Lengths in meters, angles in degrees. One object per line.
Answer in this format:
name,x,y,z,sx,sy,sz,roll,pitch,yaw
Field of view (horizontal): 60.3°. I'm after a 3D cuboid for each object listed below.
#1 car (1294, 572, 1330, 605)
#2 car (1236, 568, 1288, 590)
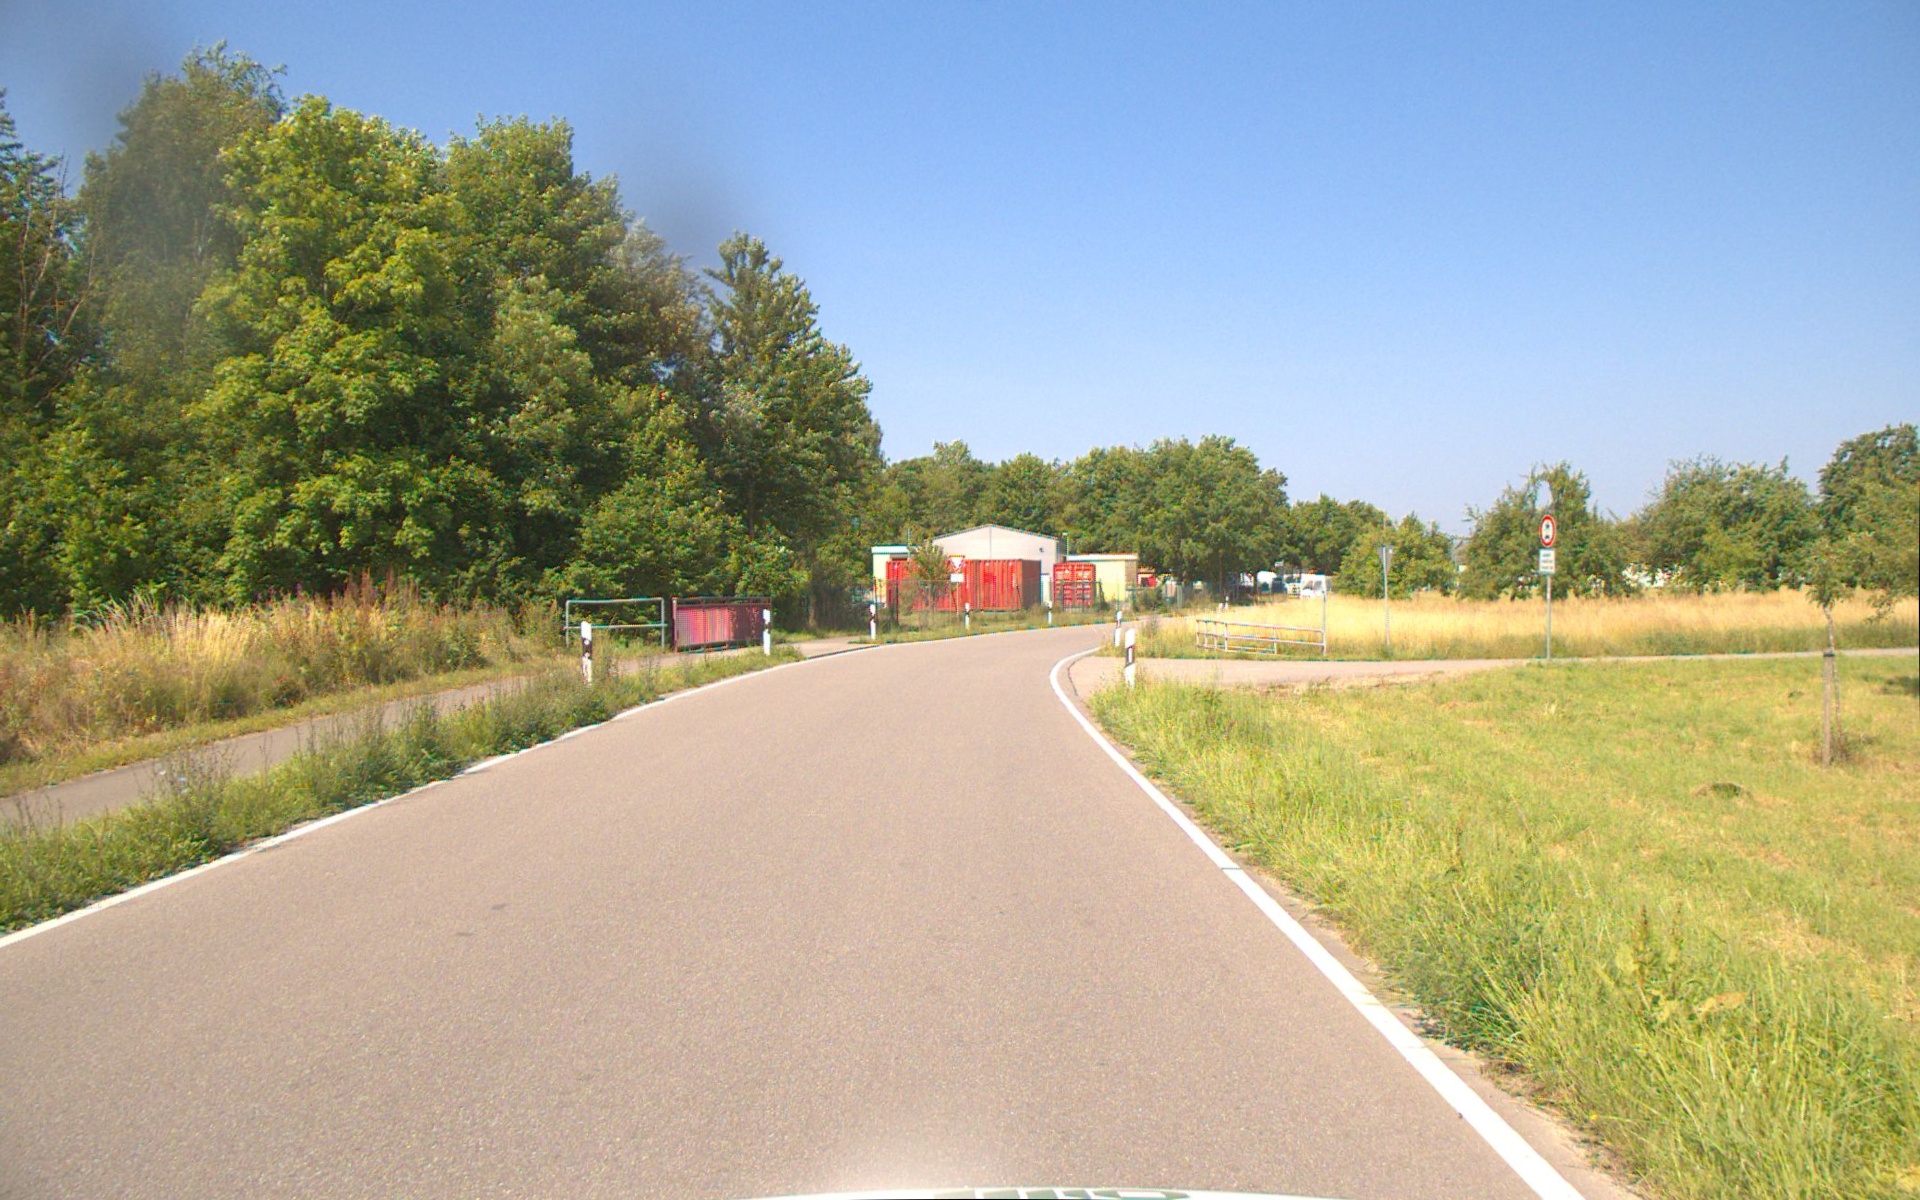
car,26.088,-0.862,122.366,1.952,2.305,4.727,-1,0,20
car,34.109,-2.352,186.709,5.510,2.305,1.989,-1,0,-19
